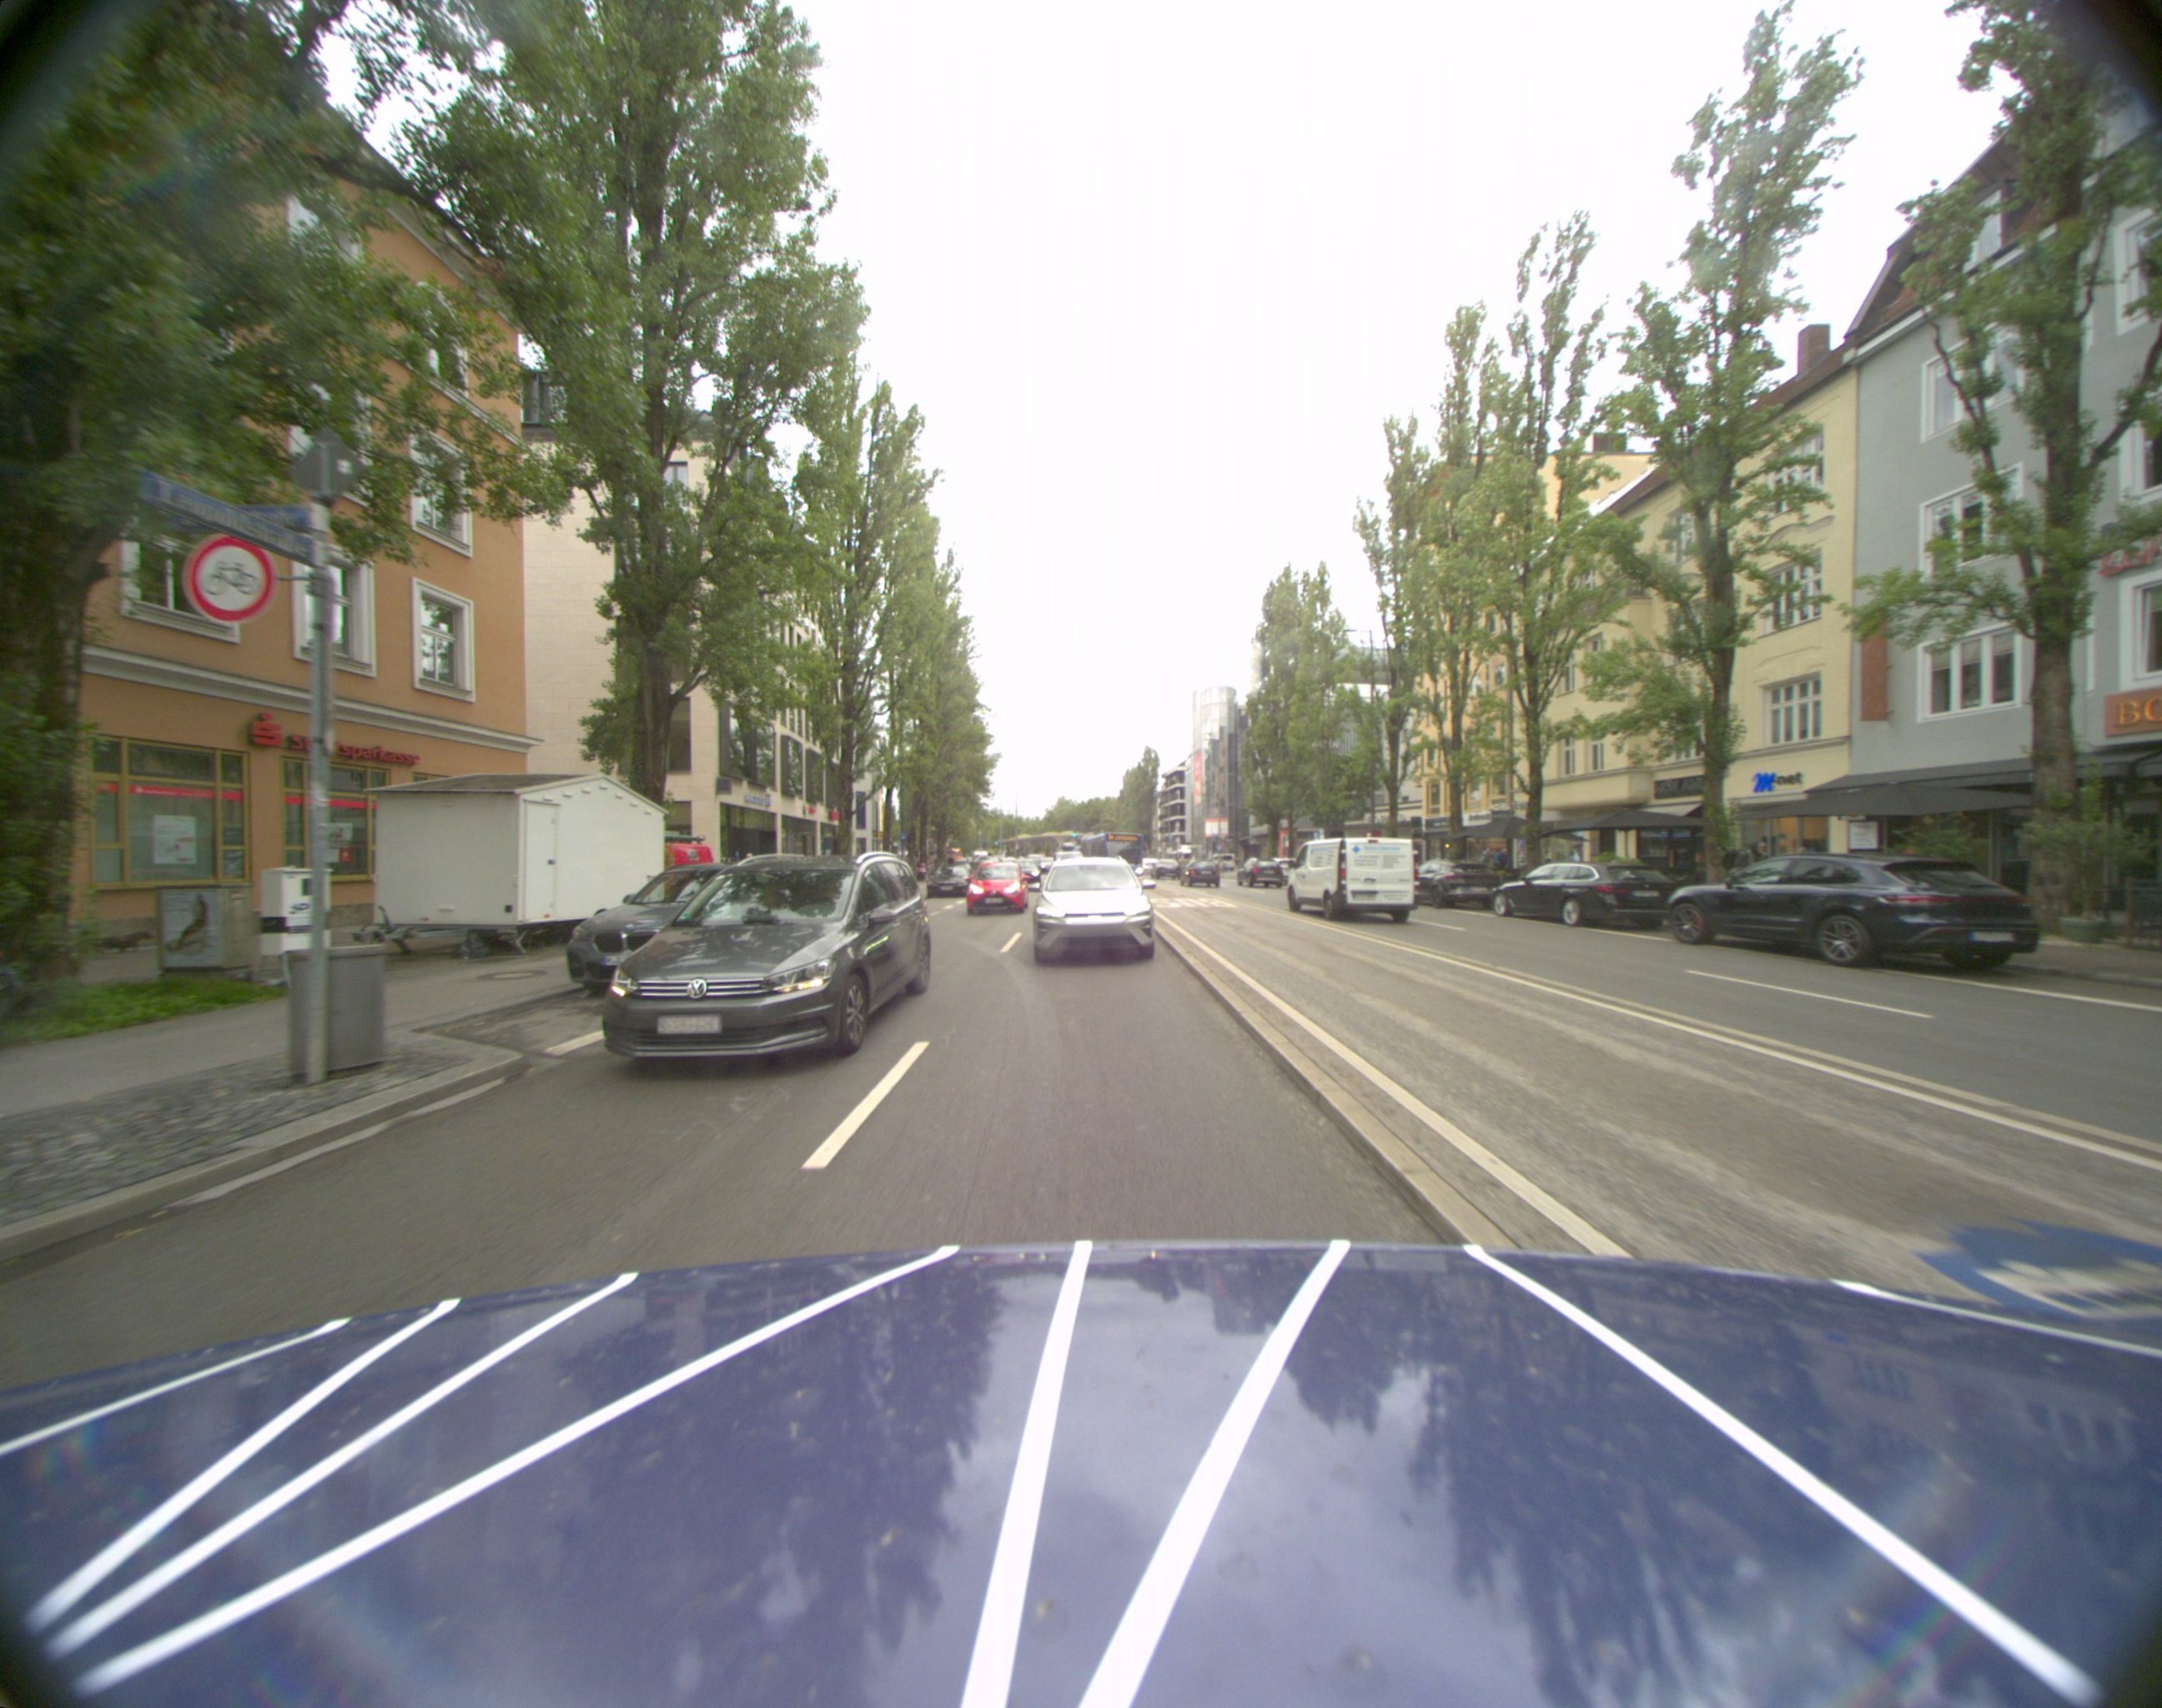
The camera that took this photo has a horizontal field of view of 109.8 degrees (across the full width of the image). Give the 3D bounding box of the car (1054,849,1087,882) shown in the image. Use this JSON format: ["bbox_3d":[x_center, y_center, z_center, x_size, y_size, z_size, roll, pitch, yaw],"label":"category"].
[{"bbox_3d":[-0.642,0.670,46.832,1.839,1.831,5.129,-2,1,0],"label":"car"}]

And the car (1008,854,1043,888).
[{"bbox_3d":[-3.040,0.853,40.970,1.707,1.683,4.001,-2,0,-5],"label":"car"}]

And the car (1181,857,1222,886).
[{"bbox_3d":[6.345,0.895,40.293,1.616,1.432,3.596,0,0,0],"label":"car"}]

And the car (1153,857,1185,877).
[{"bbox_3d":[6.374,0.921,55.563,1.781,1.391,4.363,0,0,0],"label":"car"}]

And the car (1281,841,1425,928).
[{"bbox_3d":[6.709,0.666,19.418,1.897,1.921,5.071,0,0,1],"label":"car"}]

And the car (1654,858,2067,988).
[{"bbox_3d":[11.582,0.890,11.898,1.802,1.603,4.574,0,0,1],"label":"car"}]

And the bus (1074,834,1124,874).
[{"bbox_3d":[1.297,-0.035,60.927,2.691,2.932,10.046,-1,0,-6],"label":"bus"}]

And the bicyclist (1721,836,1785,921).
[{"bbox_3d":[13.871,0.494,15.712,0.606,1.695,0.816,-1,1,1],"label":"bicyclist"}]

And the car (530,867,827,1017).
[{"bbox_3d":[-5.258,1.022,10.763,1.789,1.544,4.498,-2,0,0],"label":"car"}]

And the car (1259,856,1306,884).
[{"bbox_3d":[12.129,0.929,45.920,1.802,1.568,4.104,0,0,1],"label":"car"}]

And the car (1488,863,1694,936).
[{"bbox_3d":[11.693,0.955,17.870,1.802,1.432,4.574,0,0,1],"label":"car"}]

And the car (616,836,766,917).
[{"bbox_3d":[-11.092,0.594,21.951,1.682,2.110,4.004,0,0,12],"label":"car"}]

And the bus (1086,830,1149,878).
[{"bbox_3d":[2.299,-0.011,52.095,2.698,2.932,10.046,-1,0,-6],"label":"bus"}]

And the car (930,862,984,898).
[{"bbox_3d":[-5.363,1.098,33.281,1.700,1.352,4.003,-2,0,0],"label":"car"}]

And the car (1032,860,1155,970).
[{"bbox_3d":[0.169,0.908,13.139,1.742,1.510,4.033,-2,0,0],"label":"car"}]

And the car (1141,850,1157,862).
[{"bbox_3d":[9.569,0.258,107.526,1.863,1.606,4.363,0,0,0],"label":"car"}]

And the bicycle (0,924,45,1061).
[{"bbox_3d":[-9.510,1.143,6.008,1.604,1.078,0.341,-1,1,-22],"label":"bicycle"}]

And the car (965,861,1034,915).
[{"bbox_3d":[-2.372,0.955,22.987,1.616,1.425,4.003,-2,0,0],"label":"car"}]

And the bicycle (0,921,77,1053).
[{"bbox_3d":[-9.668,1.145,6.337,1.610,1.078,0.321,-1,1,-22],"label":"bicycle"}]

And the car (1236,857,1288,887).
[{"bbox_3d":[9.752,0.933,41.169,1.750,1.509,4.363,0,0,0],"label":"car"}]

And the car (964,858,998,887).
[{"bbox_3d":[-5.781,1.035,44.242,1.701,1.507,3.998,-2,1,-5],"label":"car"}]

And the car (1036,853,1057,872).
[{"bbox_3d":[-3.221,0.778,69.770,1.707,1.683,4.001,-2,0,-5],"label":"car"}]

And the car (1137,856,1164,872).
[{"bbox_3d":[6.267,0.875,68.688,1.782,1.391,4.081,0,0,-4],"label":"car"}]

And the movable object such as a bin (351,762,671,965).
[{"bbox_3d":[-10.054,0.148,14.026,2.446,3.119,4.543,1,0,1],"label":"movable object such as a bin"}]

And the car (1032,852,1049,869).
[{"bbox_3d":[-4.366,0.695,81.348,1.707,1.683,4.001,-2,0,-5],"label":"car"}]

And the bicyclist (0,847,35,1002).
[{"bbox_3d":[-12.086,0.771,8.112,0.742,1.677,0.748,-1,1,-15],"label":"bicyclist"}]

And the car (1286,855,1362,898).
[{"bbox_3d":[9.375,0.801,29.634,1.718,1.532,4.076,1,0,1],"label":"car"}]

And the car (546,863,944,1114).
[{"bbox_3d":[-2.644,0.935,7.221,1.882,1.582,4.192,-2,0,0],"label":"car"}]

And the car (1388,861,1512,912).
[{"bbox_3d":[11.720,0.959,24.494,1.802,1.432,4.574,0,0,1],"label":"car"}]

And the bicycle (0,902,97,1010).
[{"bbox_3d":[-12.085,1.140,8.138,0.738,1.113,2.099,-1,0,-15],"label":"bicycle"}]
